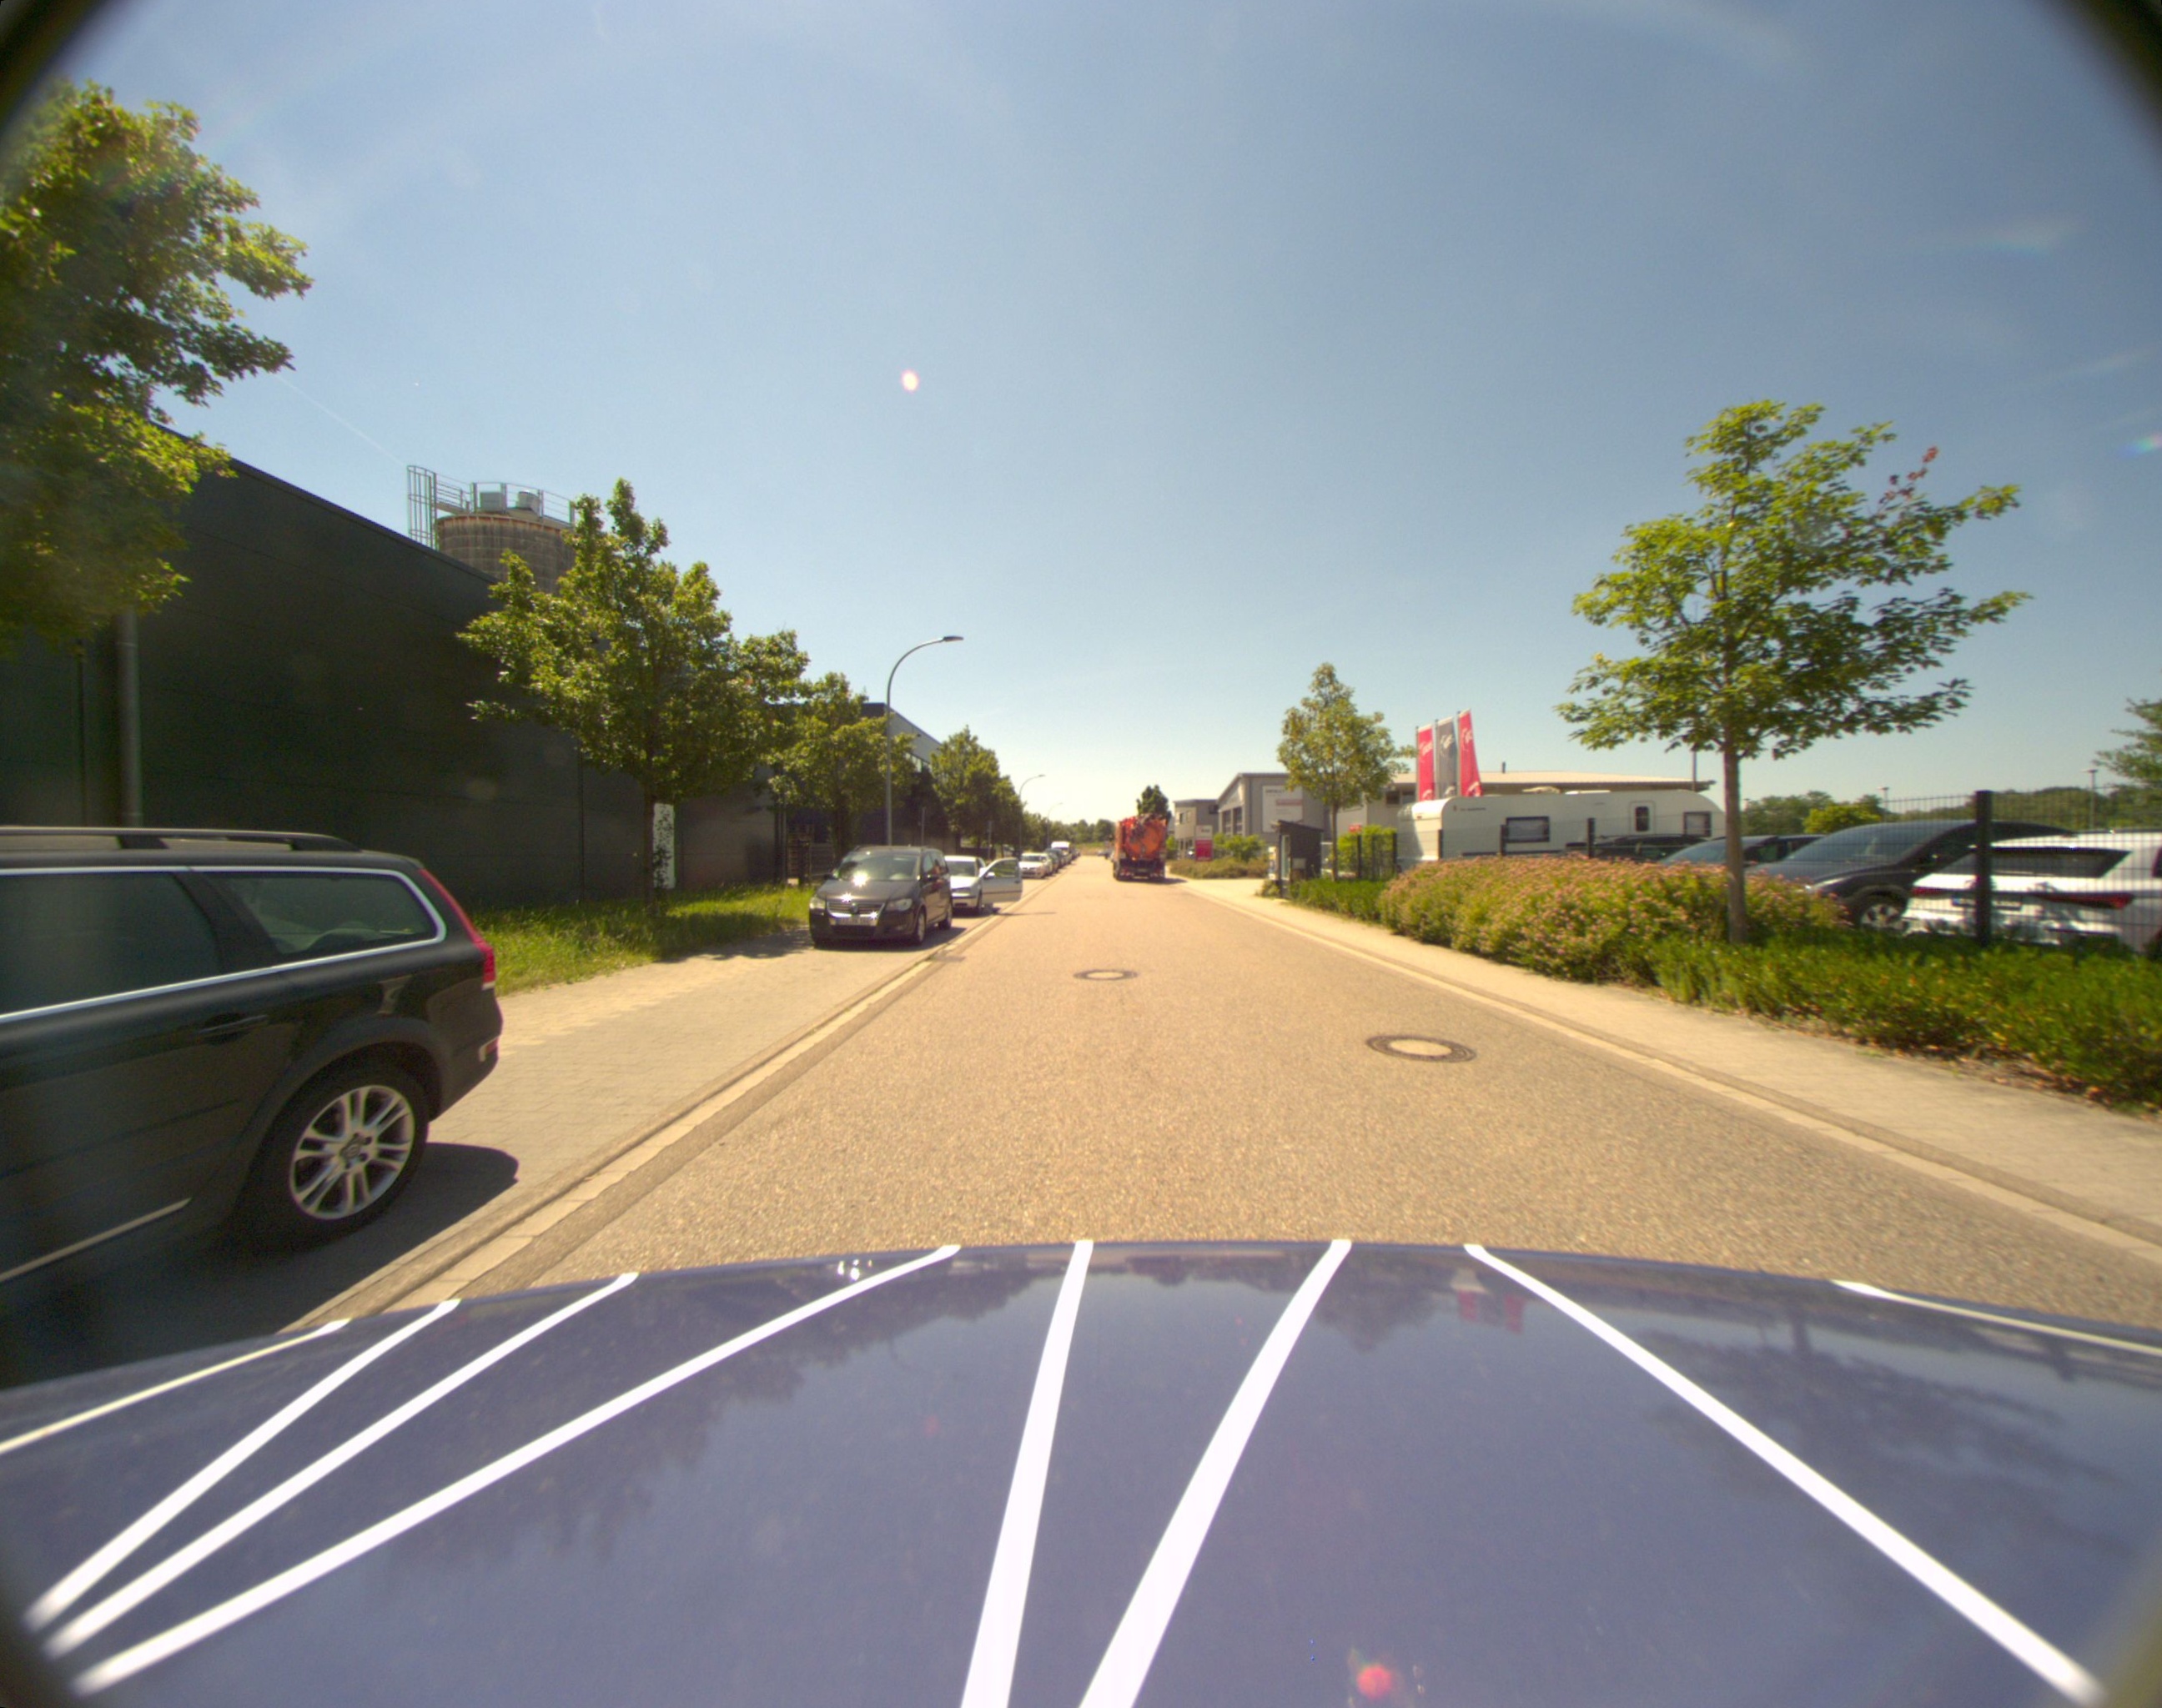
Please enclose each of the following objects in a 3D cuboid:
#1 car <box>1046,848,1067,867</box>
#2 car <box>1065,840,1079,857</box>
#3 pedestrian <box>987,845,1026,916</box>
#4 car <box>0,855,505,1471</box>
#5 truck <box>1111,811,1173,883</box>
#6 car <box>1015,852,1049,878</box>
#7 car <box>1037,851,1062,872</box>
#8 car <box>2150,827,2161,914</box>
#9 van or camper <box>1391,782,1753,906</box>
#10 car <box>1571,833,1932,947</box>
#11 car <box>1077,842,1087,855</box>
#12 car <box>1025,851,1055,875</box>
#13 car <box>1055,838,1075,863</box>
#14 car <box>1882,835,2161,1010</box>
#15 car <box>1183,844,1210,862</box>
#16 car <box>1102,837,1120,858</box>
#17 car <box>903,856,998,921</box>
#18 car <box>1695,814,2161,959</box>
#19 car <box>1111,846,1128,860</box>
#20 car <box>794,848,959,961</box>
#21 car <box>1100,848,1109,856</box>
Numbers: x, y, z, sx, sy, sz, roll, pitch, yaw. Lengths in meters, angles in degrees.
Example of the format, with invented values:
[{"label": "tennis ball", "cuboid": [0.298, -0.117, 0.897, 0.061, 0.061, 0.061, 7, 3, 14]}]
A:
[{"label": "car", "cuboid": [-2.190, 0.312, 68.639, 1.736, 1.684, 3.745, 0, 1, 0]}, {"label": "car", "cuboid": [-1.330, -0.842, 117.232, 2.060, 2.683, 4.834, 0, 1, 0]}, {"label": "pedestrian", "cuboid": [-1.936, 0.678, 19.841, 0.722, 1.799, 0.703, -2, 1, -36]}, {"label": "car", "cuboid": [-3.787, 0.838, 1.427, 1.812, 1.608, 4.714, 1, 0, 0]}, {"label": "truck", "cuboid": [3.201, -0.381, 42.610, 2.606, 3.524, 10.499, 0, 0, 0]}, {"label": "car", "cuboid": [-2.886, 0.623, 45.384, 1.736, 1.501, 3.665, 1, 1, 0]}, {"label": "car", "cuboid": [-2.304, 0.515, 56.726, 1.736, 1.501, 3.745, 0, 1, 0]}, {"label": "car", "cuboid": [21.699, 0.266, 13.016, 3.997, 1.587, 2.000, -1, 1, 0]}, {"label": "van or camper", "cuboid": [11.221, -0.217, 17.877, 6.792, 2.668, 2.575, 0, 1, 1]}, {"label": "car", "cuboid": [10.828, 0.535, 12.463, 4.522, 1.656, 1.776, -1, 1, -4]}, {"label": "car", "cuboid": [0.141, -1.163, 162.295, 2.060, 2.683, 4.834, 0, 1, 0]}, {"label": "car", "cuboid": [-2.672, 0.584, 50.370, 1.736, 1.501, 3.844, 0, 0, 0]}, {"label": "car", "cuboid": [-1.740, -0.383, 84.936, 2.060, 2.683, 4.834, 0, 1, 0]}, {"label": "car", "cuboid": [10.700, 0.543, 7.317, 4.218, 1.444, 1.777, -1, 1, -2]}, {"label": "car", "cuboid": [10.775, -0.107, 71.260, 1.998, 1.674, 4.000, 0, 1, 1]}, {"label": "car", "cuboid": [4.585, -1.038, 117.615, 2.600, 3.213, 6.222, 0, 1, 1]}, {"label": "car", "cuboid": [-3.237, 0.802, 19.588, 1.711, 1.449, 4.188, 1, 0, 0]}, {"label": "car", "cuboid": [11.006, 0.373, 10.033, 4.522, 1.656, 1.776, -1, 1, -4]}, {"label": "car", "cuboid": [4.839, -0.133, 95.673, 1.998, 1.674, 4.000, 0, 1, 1]}, {"label": "car", "cuboid": [-3.393, 0.735, 13.494, 1.742, 1.660, 4.367, 1, 0, 0]}, {"label": "car", "cuboid": [4.969, -0.395, 163.384, 1.867, 1.674, 4.223, 0, 1, 1]}]
